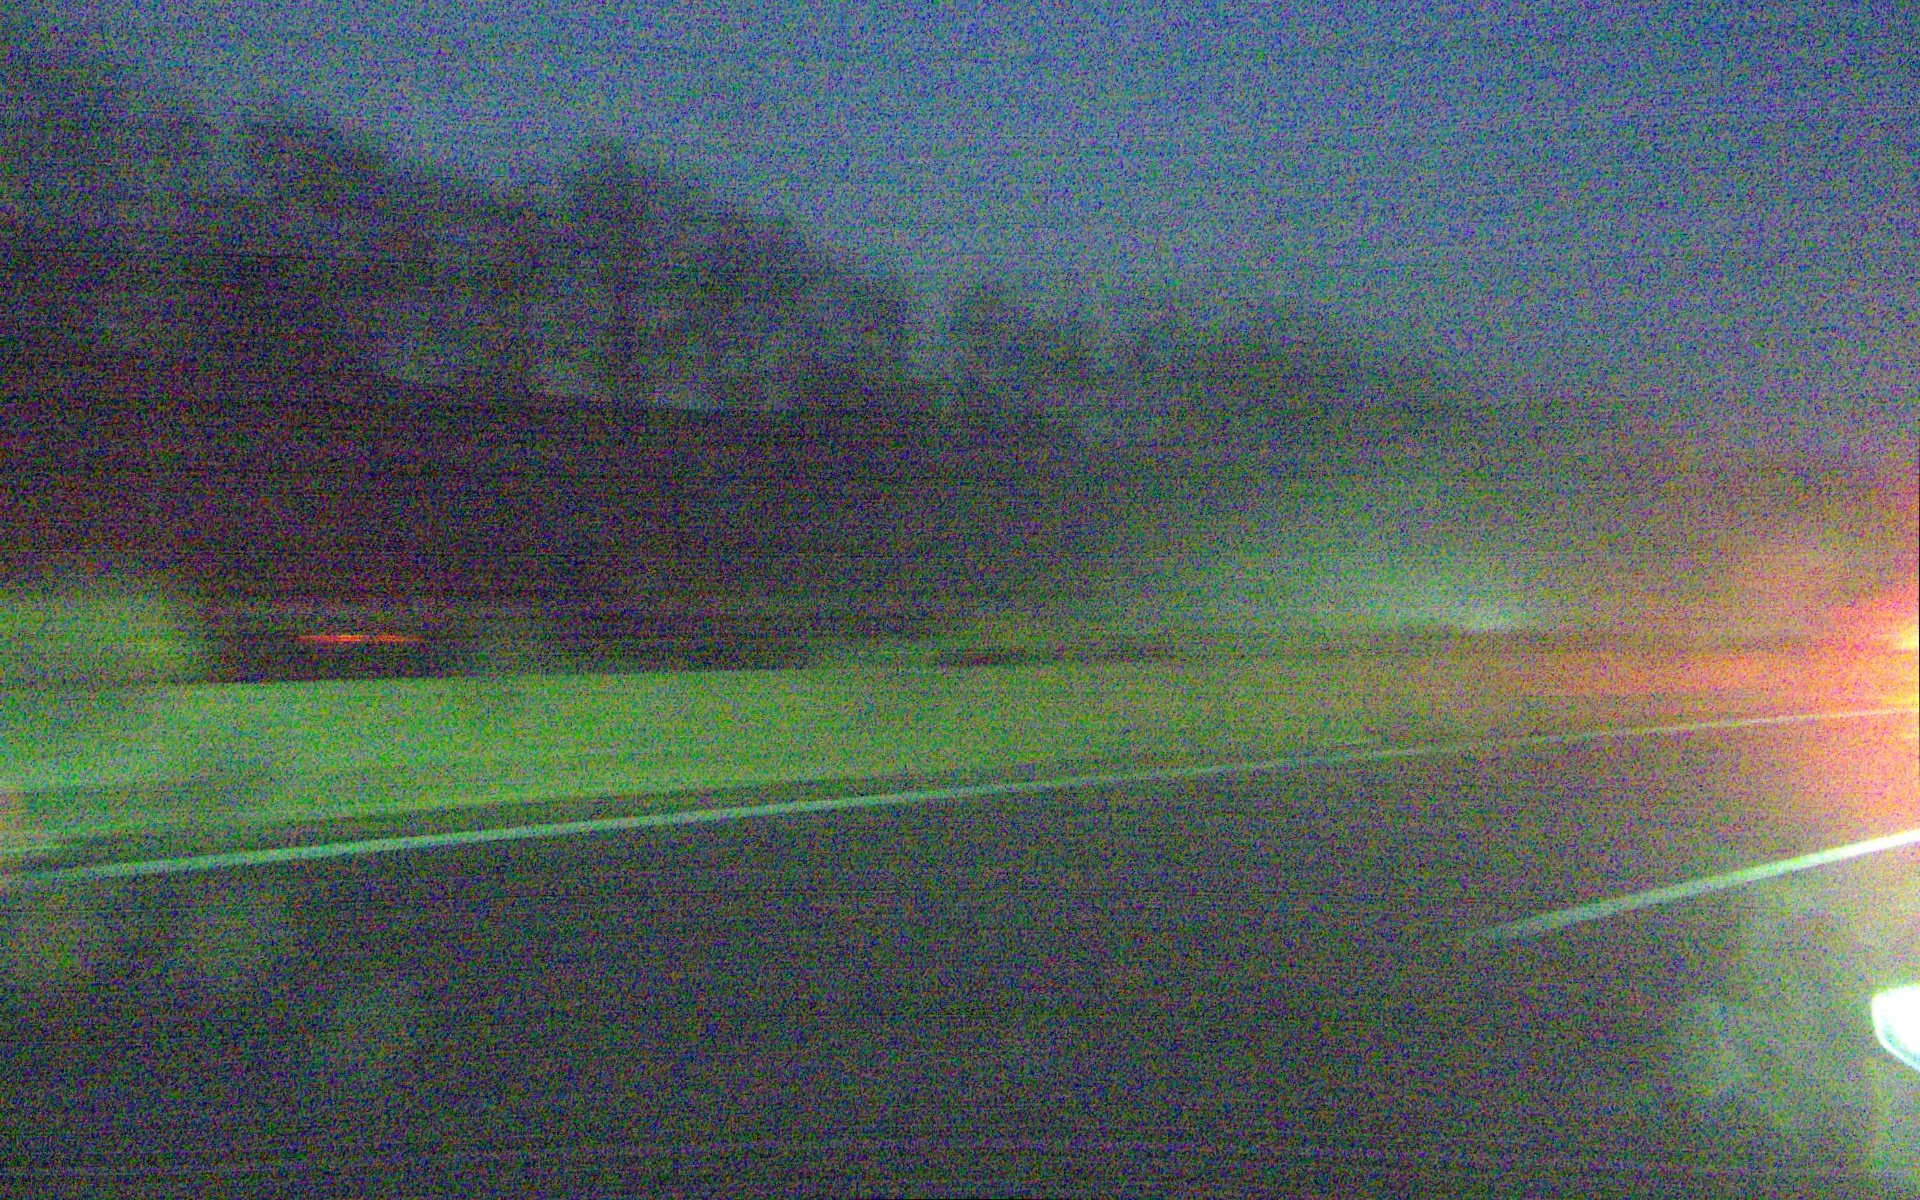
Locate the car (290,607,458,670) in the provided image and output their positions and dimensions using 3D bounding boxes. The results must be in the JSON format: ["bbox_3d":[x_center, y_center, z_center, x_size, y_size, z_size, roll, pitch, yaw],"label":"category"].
[{"bbox_3d":[-12.734,0.822,21.976,3.049,1.226,1.724,1,1,-30],"label":"car"}]
